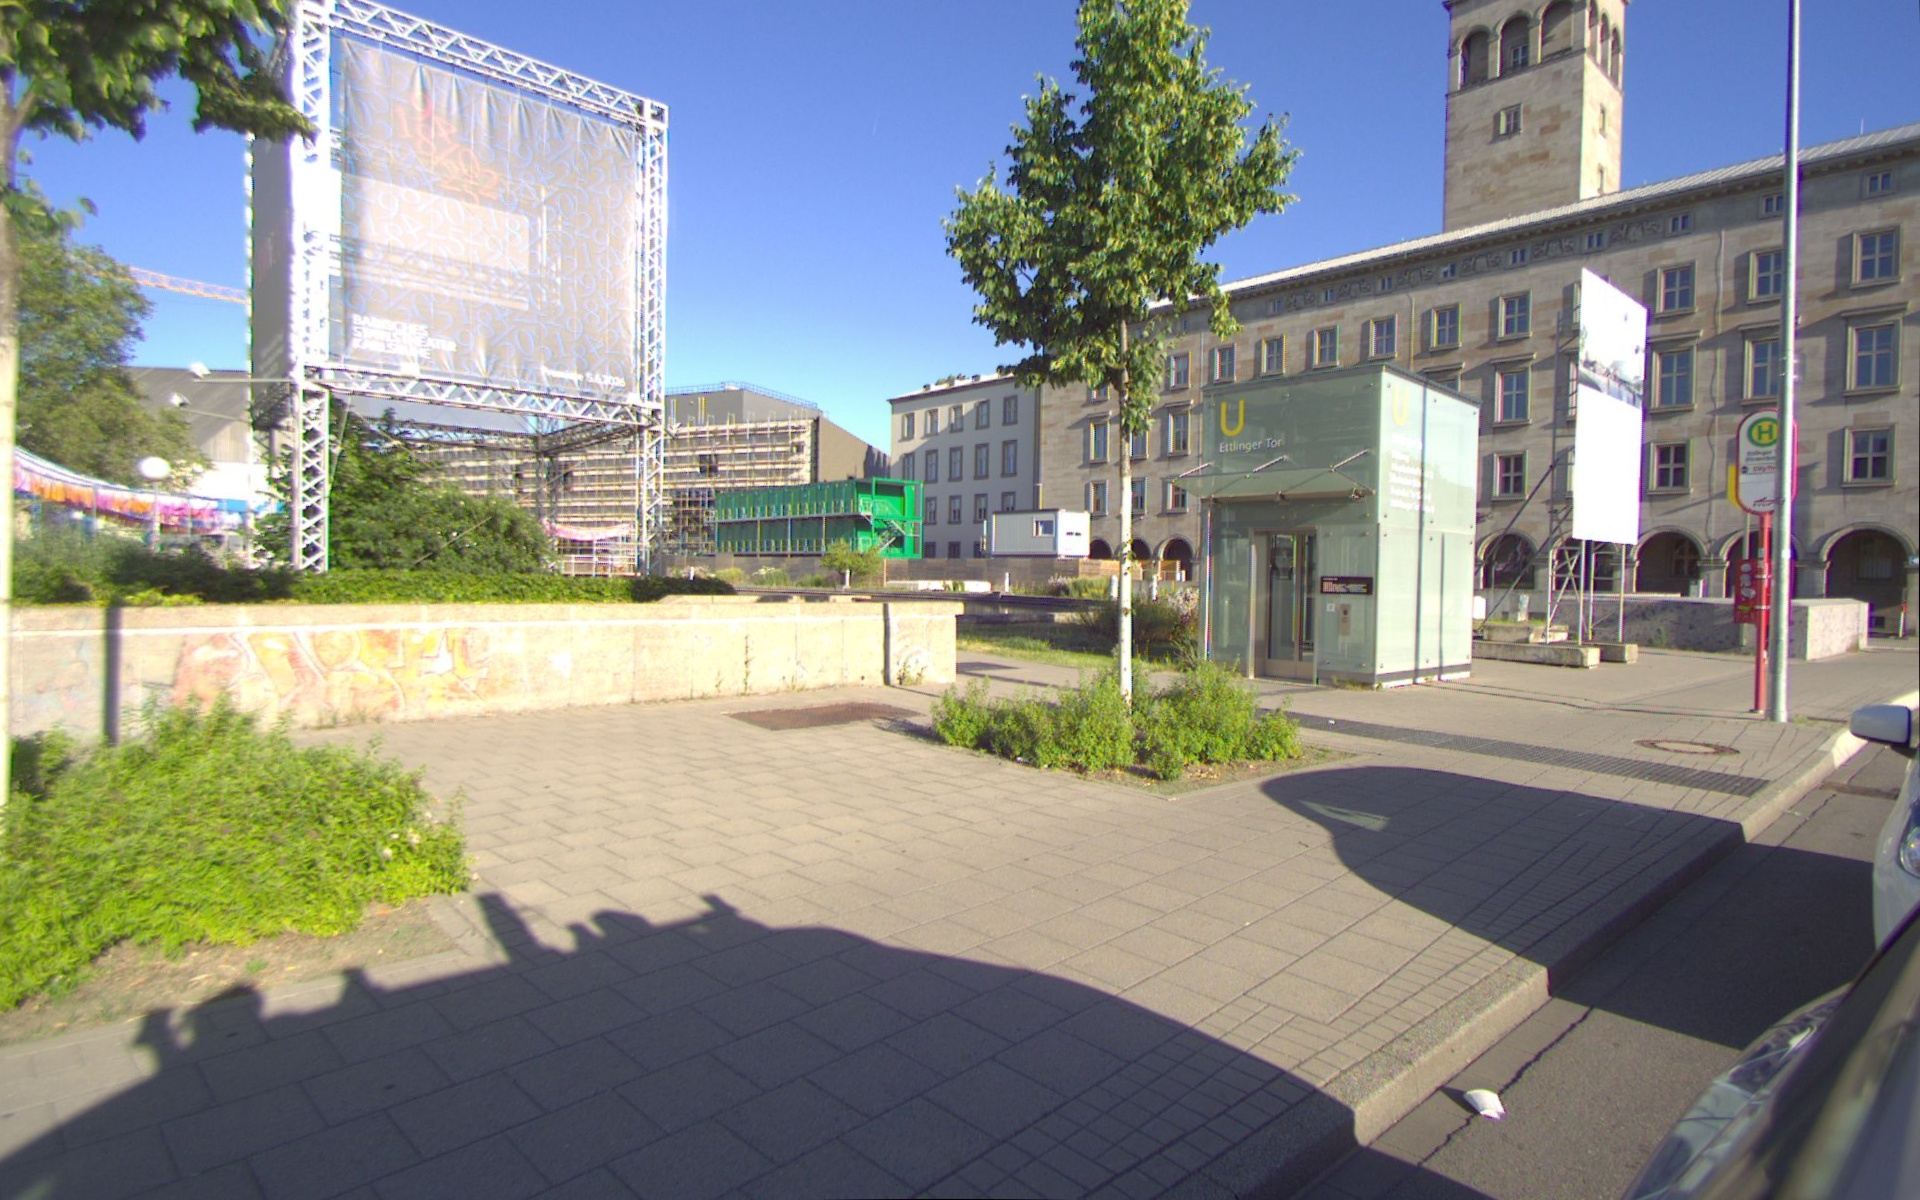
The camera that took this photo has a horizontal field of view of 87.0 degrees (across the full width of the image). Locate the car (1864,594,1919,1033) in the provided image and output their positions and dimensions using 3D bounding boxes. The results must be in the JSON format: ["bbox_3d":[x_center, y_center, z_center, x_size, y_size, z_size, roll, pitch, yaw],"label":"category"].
[{"bbox_3d":[5.120,0.713,4.051,3.819,1.467,1.678,0,0,-39],"label":"car"}]

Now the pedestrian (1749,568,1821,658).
[{"bbox_3d":[17.151,0.252,21.038,1.053,1.809,0.941,0,2,-41],"label":"pedestrian"}]
